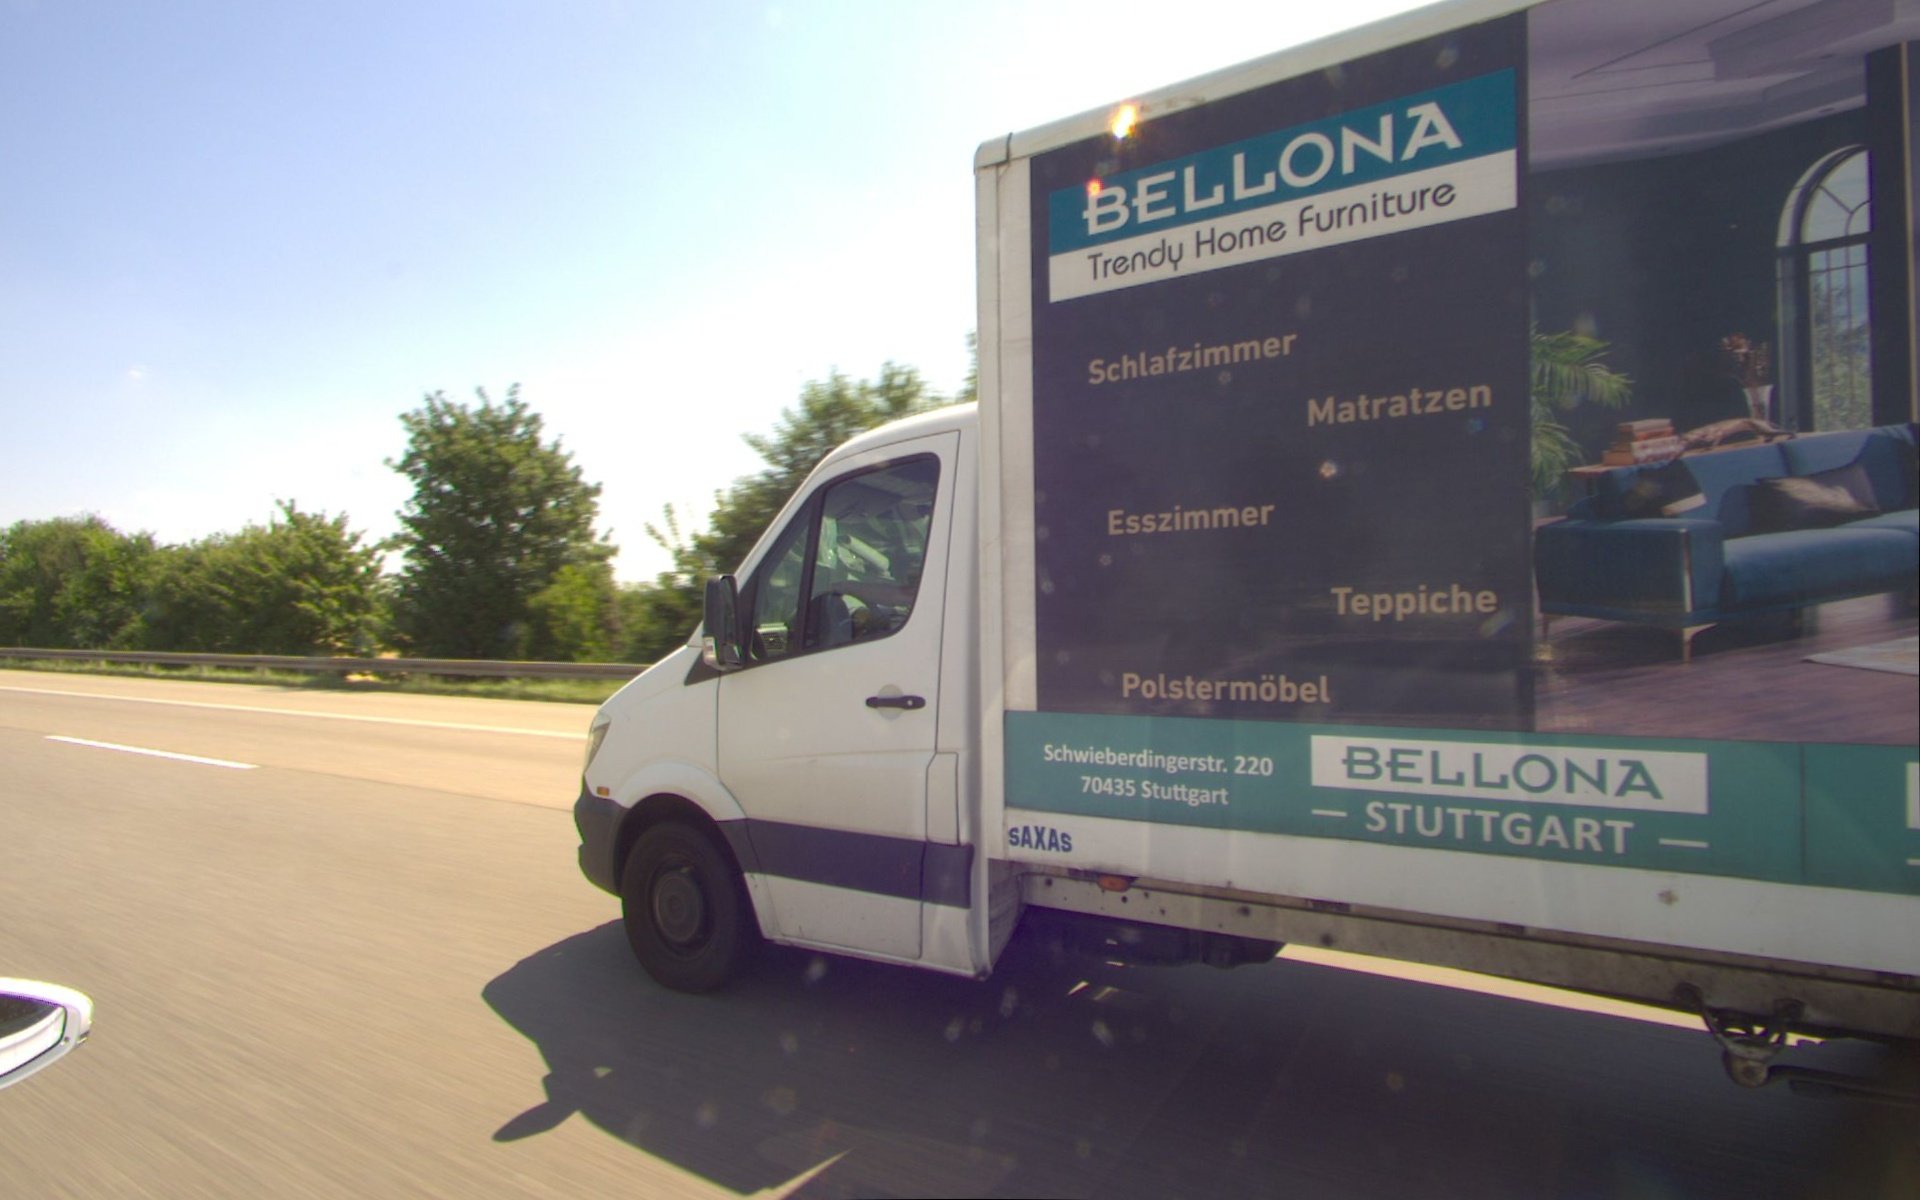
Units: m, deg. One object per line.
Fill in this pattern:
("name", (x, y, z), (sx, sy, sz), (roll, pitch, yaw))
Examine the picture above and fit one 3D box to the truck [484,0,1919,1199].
("truck", (1.316, 0.002, 3.658), (6.654, 3.107, 2.317), (-1, -1, 32))
